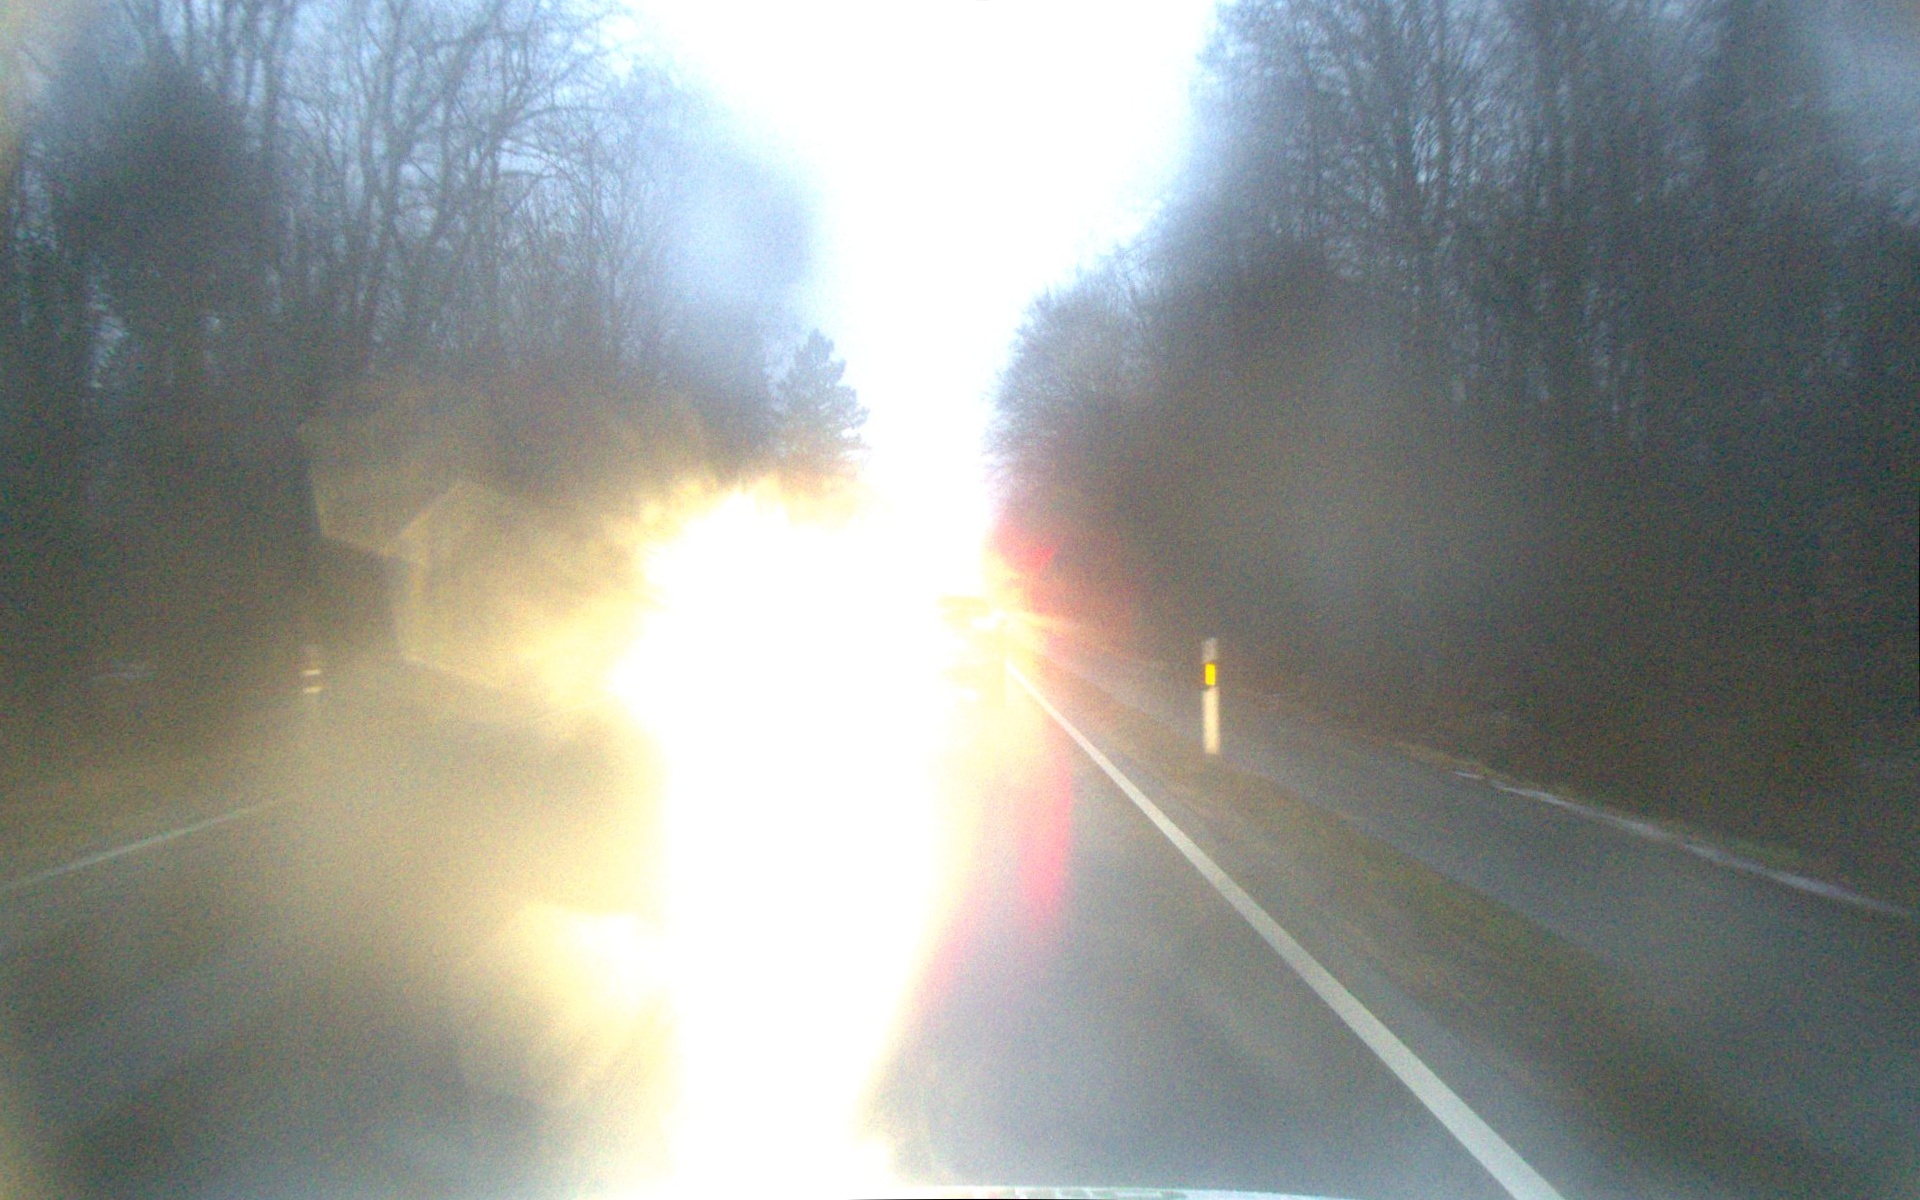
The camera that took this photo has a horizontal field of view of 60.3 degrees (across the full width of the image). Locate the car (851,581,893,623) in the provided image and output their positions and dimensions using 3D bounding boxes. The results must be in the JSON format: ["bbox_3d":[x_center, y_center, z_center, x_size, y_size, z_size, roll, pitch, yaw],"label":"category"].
[{"bbox_3d":[-4.502,0.104,85.214,1.966,2.023,5.030,-2,0,-2],"label":"car"}]

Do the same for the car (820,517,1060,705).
[{"bbox_3d":[-0.257,0.140,25.063,3.118,2.428,6.636,1,0,0],"label":"car"}]

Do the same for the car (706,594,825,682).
[{"bbox_3d":[-3.891,0.731,33.713,2.033,1.644,4.150,-1,0,-2],"label":"car"}]
